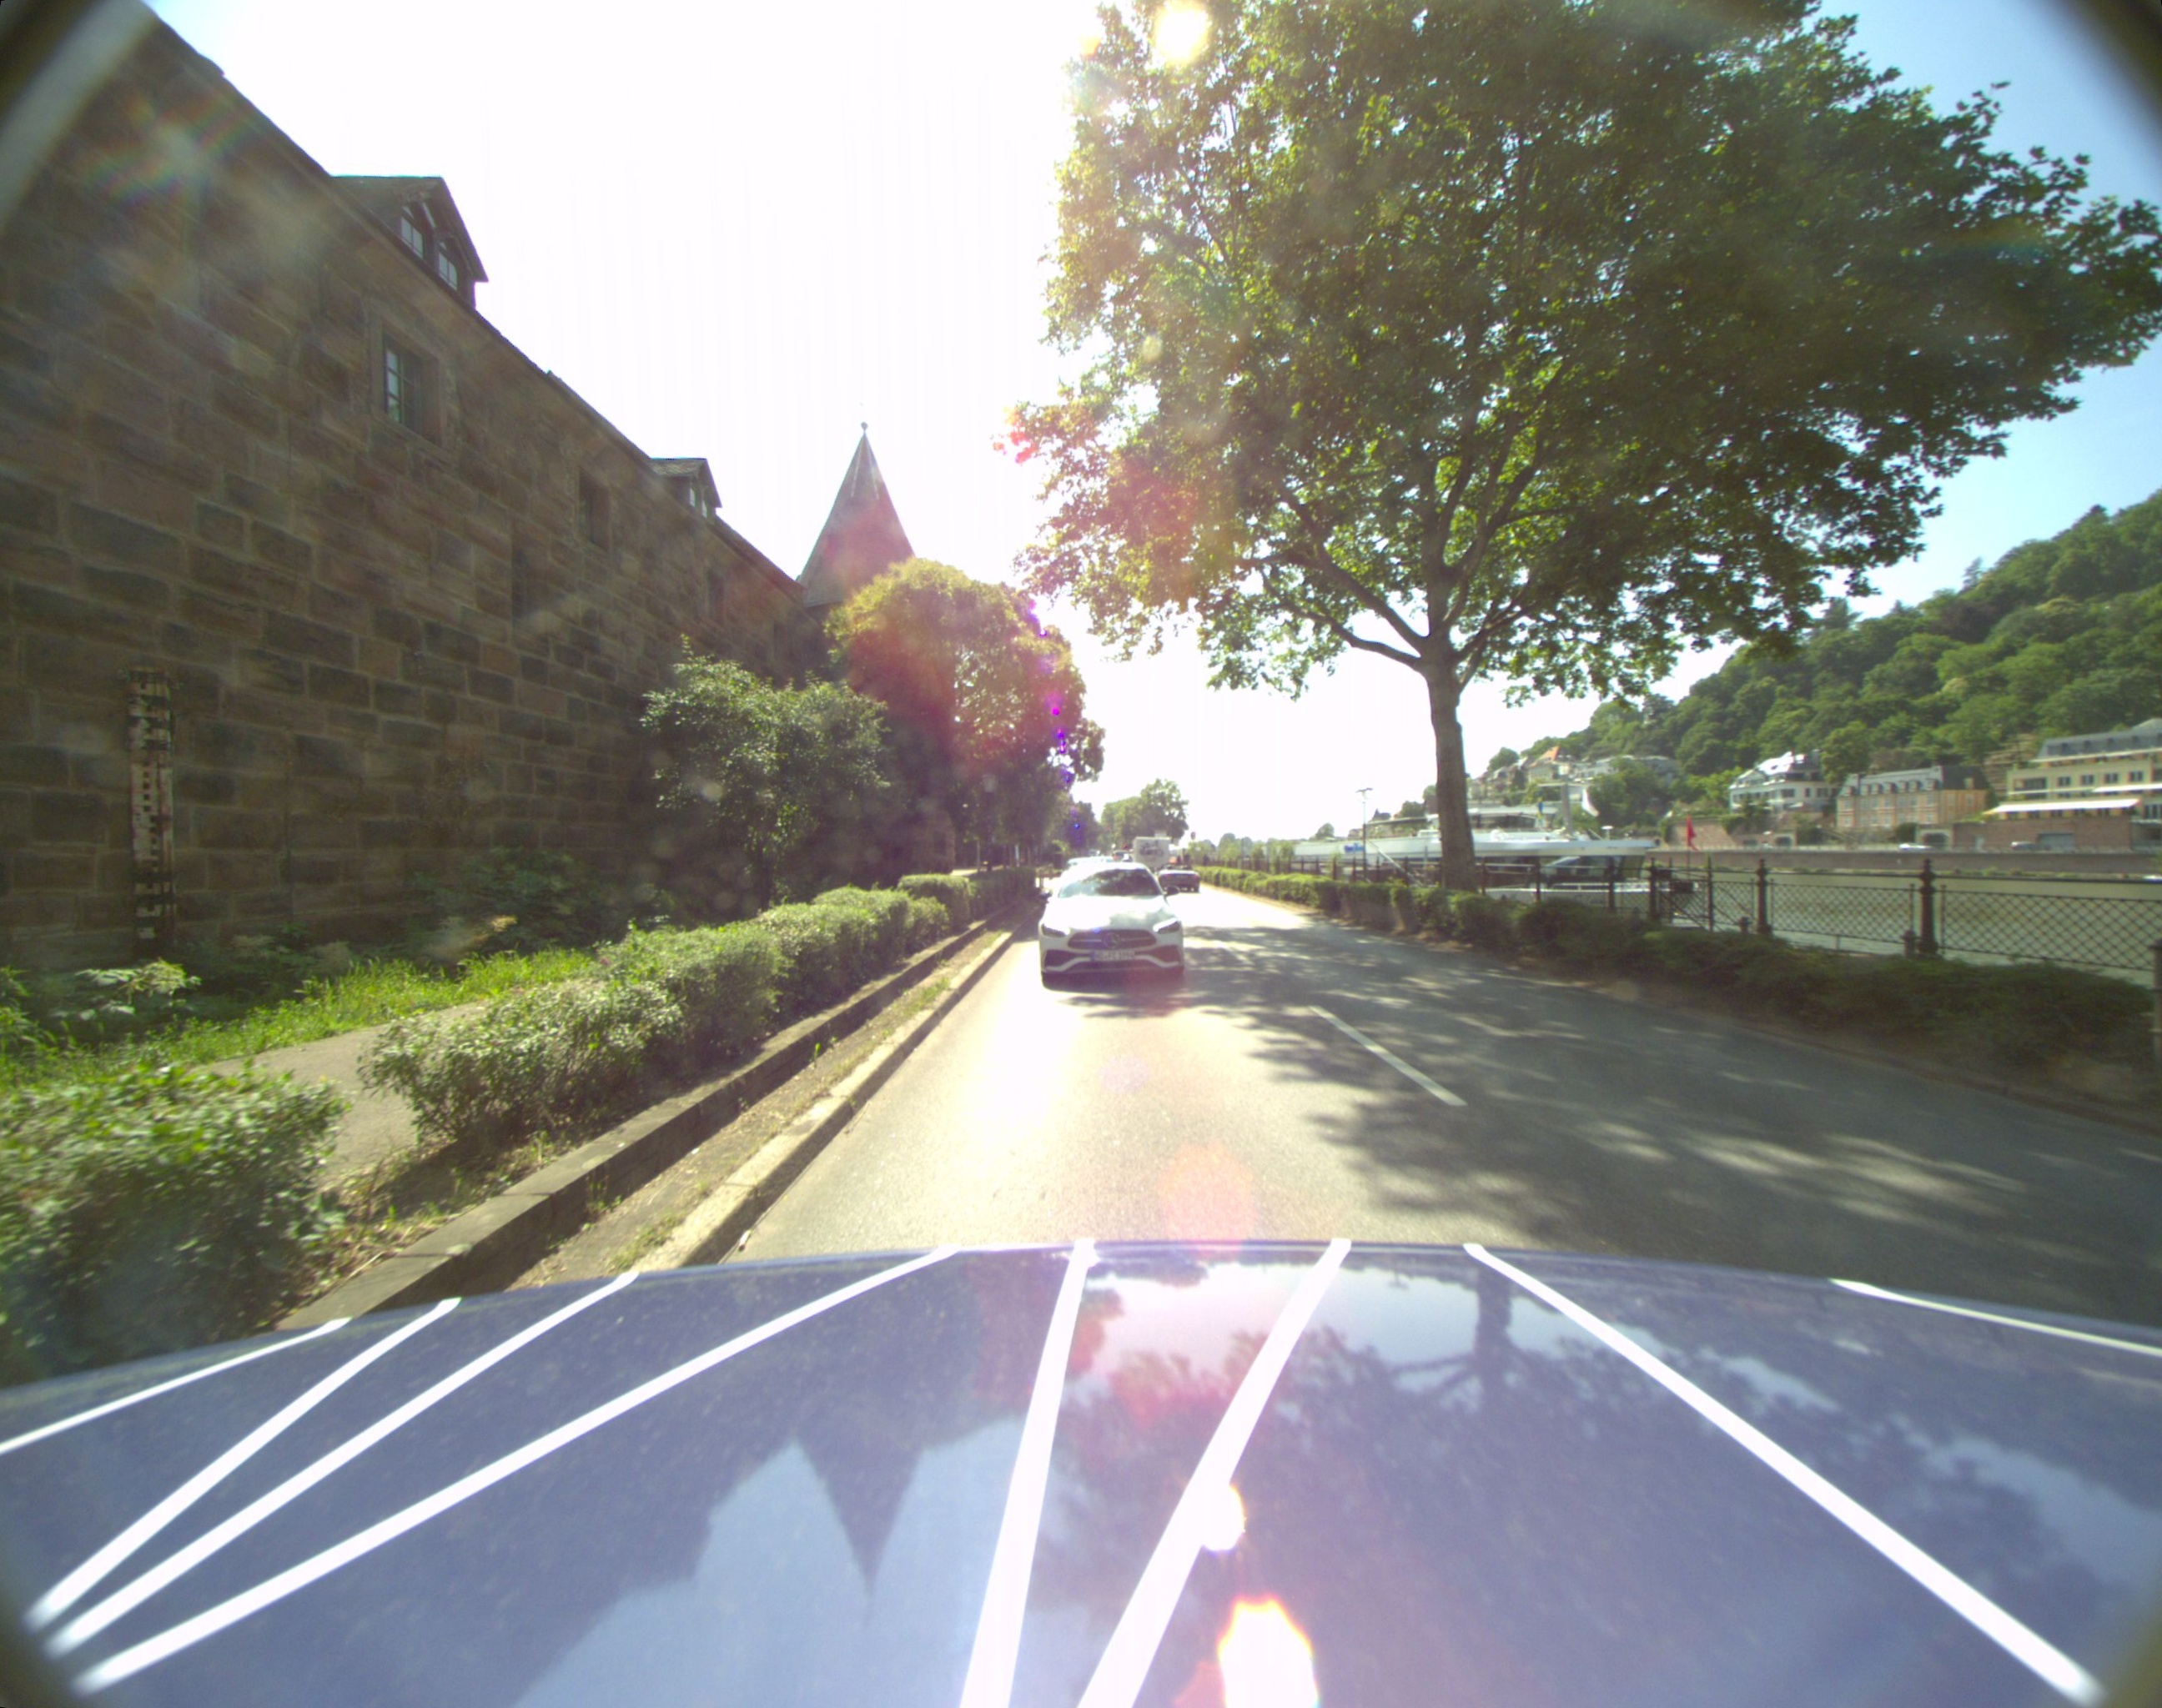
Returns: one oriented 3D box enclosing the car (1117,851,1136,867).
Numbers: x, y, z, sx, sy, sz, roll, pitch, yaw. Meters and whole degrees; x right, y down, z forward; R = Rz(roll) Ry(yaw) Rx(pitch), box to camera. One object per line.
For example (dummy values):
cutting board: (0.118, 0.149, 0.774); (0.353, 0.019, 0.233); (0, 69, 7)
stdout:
car: (4.554, 0.503, 76.481); (1.826, 1.603, 3.960); (1, 0, 1)

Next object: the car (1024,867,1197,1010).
car: (0.352, 0.958, 10.416); (1.829, 1.418, 4.358); (-2, 0, 1)

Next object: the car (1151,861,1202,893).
car: (4.073, 0.958, 32.811); (1.702, 1.204, 3.485); (2, 1, 0)

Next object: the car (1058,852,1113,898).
car: (0.195, 0.703, 27.509); (1.854, 1.543, 3.848); (1, 0, 1)

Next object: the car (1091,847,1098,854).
car: (3.751, -1.001, 216.384); (1.922, 1.975, 4.000); (1, 0, 1)

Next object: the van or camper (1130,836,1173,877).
van or camper: (4.774, 0.123, 52.334); (2.328, 2.647, 6.264); (1, 1, 1)

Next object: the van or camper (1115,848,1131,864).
van or camper: (5.239, 0.247, 95.038); (1.922, 1.975, 4.000); (1, 0, 1)

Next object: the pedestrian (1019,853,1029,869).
pedestrian: (-4.350, 0.503, 58.072); (0.632, 1.186, 0.747); (-3, 1, 3)
